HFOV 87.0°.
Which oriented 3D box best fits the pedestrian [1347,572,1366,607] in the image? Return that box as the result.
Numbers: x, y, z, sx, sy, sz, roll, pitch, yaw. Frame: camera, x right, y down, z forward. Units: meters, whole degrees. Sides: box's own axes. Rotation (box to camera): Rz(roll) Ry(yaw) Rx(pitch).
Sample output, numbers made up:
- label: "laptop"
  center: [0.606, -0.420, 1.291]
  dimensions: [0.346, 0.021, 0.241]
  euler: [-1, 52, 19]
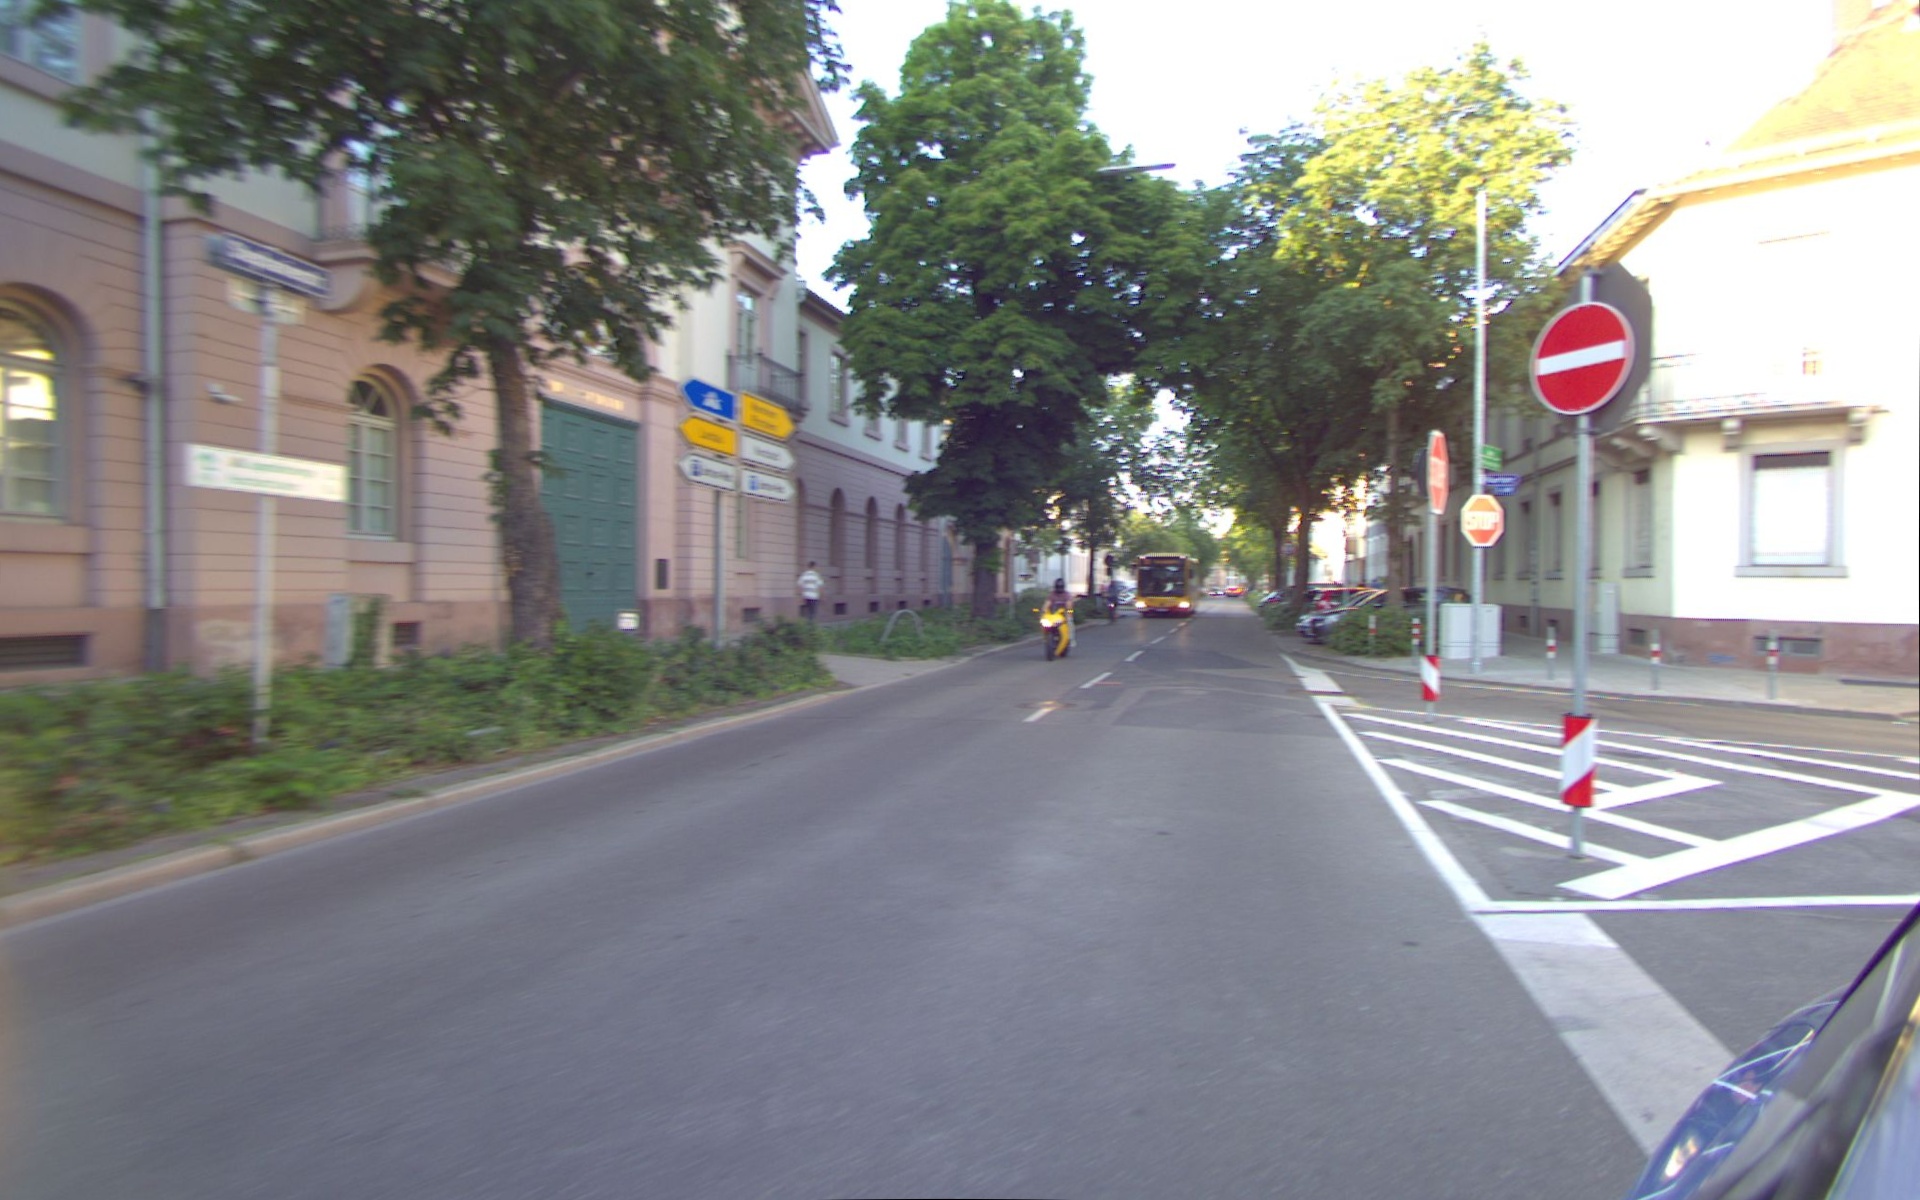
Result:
- label: "pedestrian"
  center: [20.753, -0.574, 52.951]
  dimensions: [0.795, 1.793, 1.017]
  euler: [1, 1, 14]

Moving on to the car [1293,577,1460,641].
- label: "car"
  center: [11.241, 0.211, 27.574]
  dimensions: [3.941, 1.635, 1.716]
  euler: [1, 1, 14]

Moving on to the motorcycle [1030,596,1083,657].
- label: "motorcycle"
  center: [2.034, 0.535, 21.081]
  dimensions: [0.782, 1.175, 1.958]
  euler: [-1, 1, 14]

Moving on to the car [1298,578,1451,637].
- label: "car"
  center: [12.122, 0.177, 29.835]
  dimensions: [3.941, 1.635, 1.716]
  euler: [1, 1, 14]

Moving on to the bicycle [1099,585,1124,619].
- label: "bicycle"
  center: [6.206, 0.076, 41.352]
  dimensions: [0.772, 1.346, 2.068]
  euler: [-1, 0, 15]

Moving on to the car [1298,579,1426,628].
- label: "car"
  center: [14.013, 0.085, 35.474]
  dimensions: [3.941, 1.635, 1.716]
  euler: [1, 1, 14]

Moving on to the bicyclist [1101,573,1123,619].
- label: "bicyclist"
  center: [6.204, -0.175, 41.369]
  dimensions: [0.773, 1.862, 0.823]
  euler: [-1, 0, 15]

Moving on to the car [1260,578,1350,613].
- label: "car"
  center: [16.724, -0.262, 49.236]
  dimensions: [3.941, 1.635, 1.716]
  euler: [1, 1, 14]

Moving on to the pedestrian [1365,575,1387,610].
- label: "pedestrian"
  center: [21.615, -0.380, 52.634]
  dimensions: [0.882, 1.793, 1.017]
  euler: [1, 1, 15]

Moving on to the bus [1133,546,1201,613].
- label: "bus"
  center: [11.010, -1.060, 52.847]
  dimensions: [2.674, 3.038, 12.025]
  euler: [-1, 1, 15]

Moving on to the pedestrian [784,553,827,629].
- label: "pedestrian"
  center: [-3.867, -0.231, 25.356]
  dimensions: [0.789, 1.855, 0.926]
  euler: [1, 1, 13]

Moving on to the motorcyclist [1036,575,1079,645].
- label: "motorcyclist"
  center: [2.048, 0.201, 21.182]
  dimensions: [0.782, 1.438, 0.696]
  euler: [-1, 0, 15]

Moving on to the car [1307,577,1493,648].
- label: "car"
  center: [10.834, 0.274, 25.210]
  dimensions: [3.941, 1.635, 1.821]
  euler: [1, 1, 14]
